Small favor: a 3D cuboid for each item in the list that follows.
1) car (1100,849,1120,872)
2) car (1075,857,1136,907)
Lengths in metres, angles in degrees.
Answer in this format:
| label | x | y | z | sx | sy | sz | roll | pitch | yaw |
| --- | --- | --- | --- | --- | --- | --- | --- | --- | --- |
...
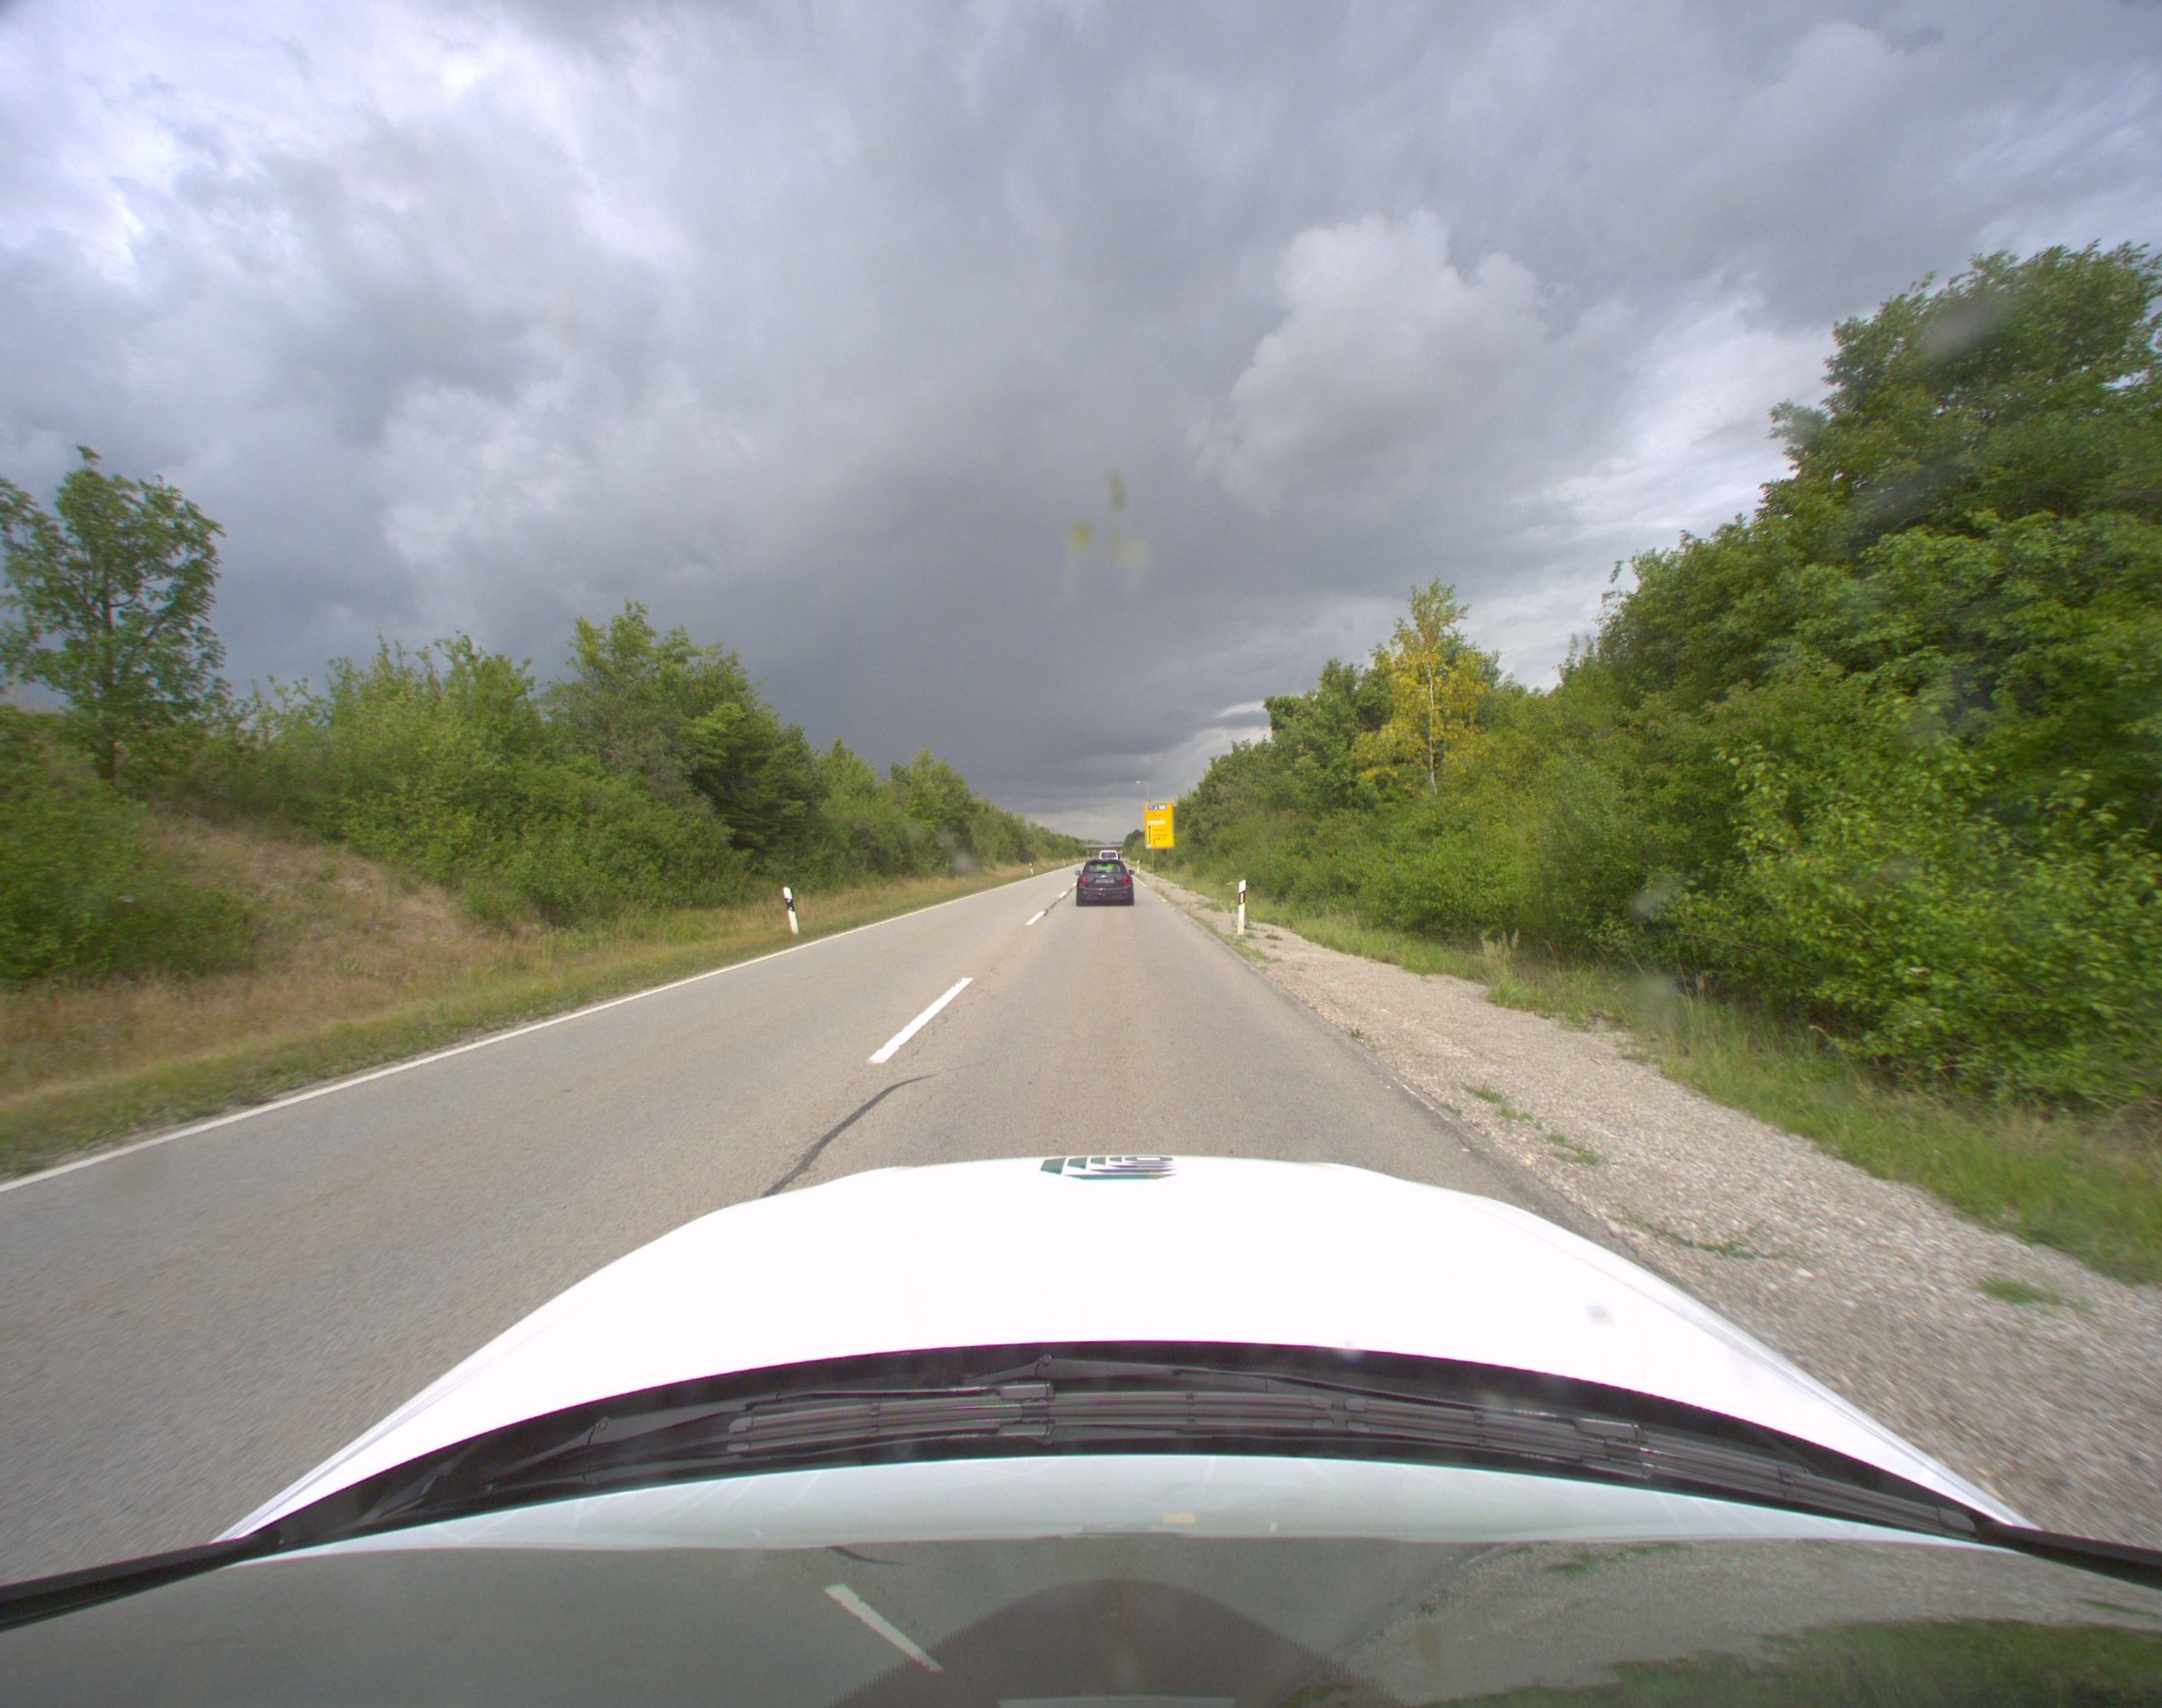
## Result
| label | x | y | z | sx | sy | sz | roll | pitch | yaw |
| --- | --- | --- | --- | --- | --- | --- | --- | --- | --- |
| car | 2.681 | 0.584 | 75.060 | 1.813 | 2.054 | 4.001 | 0 | 0 | 2 |
| car | 0.768 | 0.819 | 25.559 | 1.750 | 1.427 | 4.001 | 0 | 0 | 2 |
